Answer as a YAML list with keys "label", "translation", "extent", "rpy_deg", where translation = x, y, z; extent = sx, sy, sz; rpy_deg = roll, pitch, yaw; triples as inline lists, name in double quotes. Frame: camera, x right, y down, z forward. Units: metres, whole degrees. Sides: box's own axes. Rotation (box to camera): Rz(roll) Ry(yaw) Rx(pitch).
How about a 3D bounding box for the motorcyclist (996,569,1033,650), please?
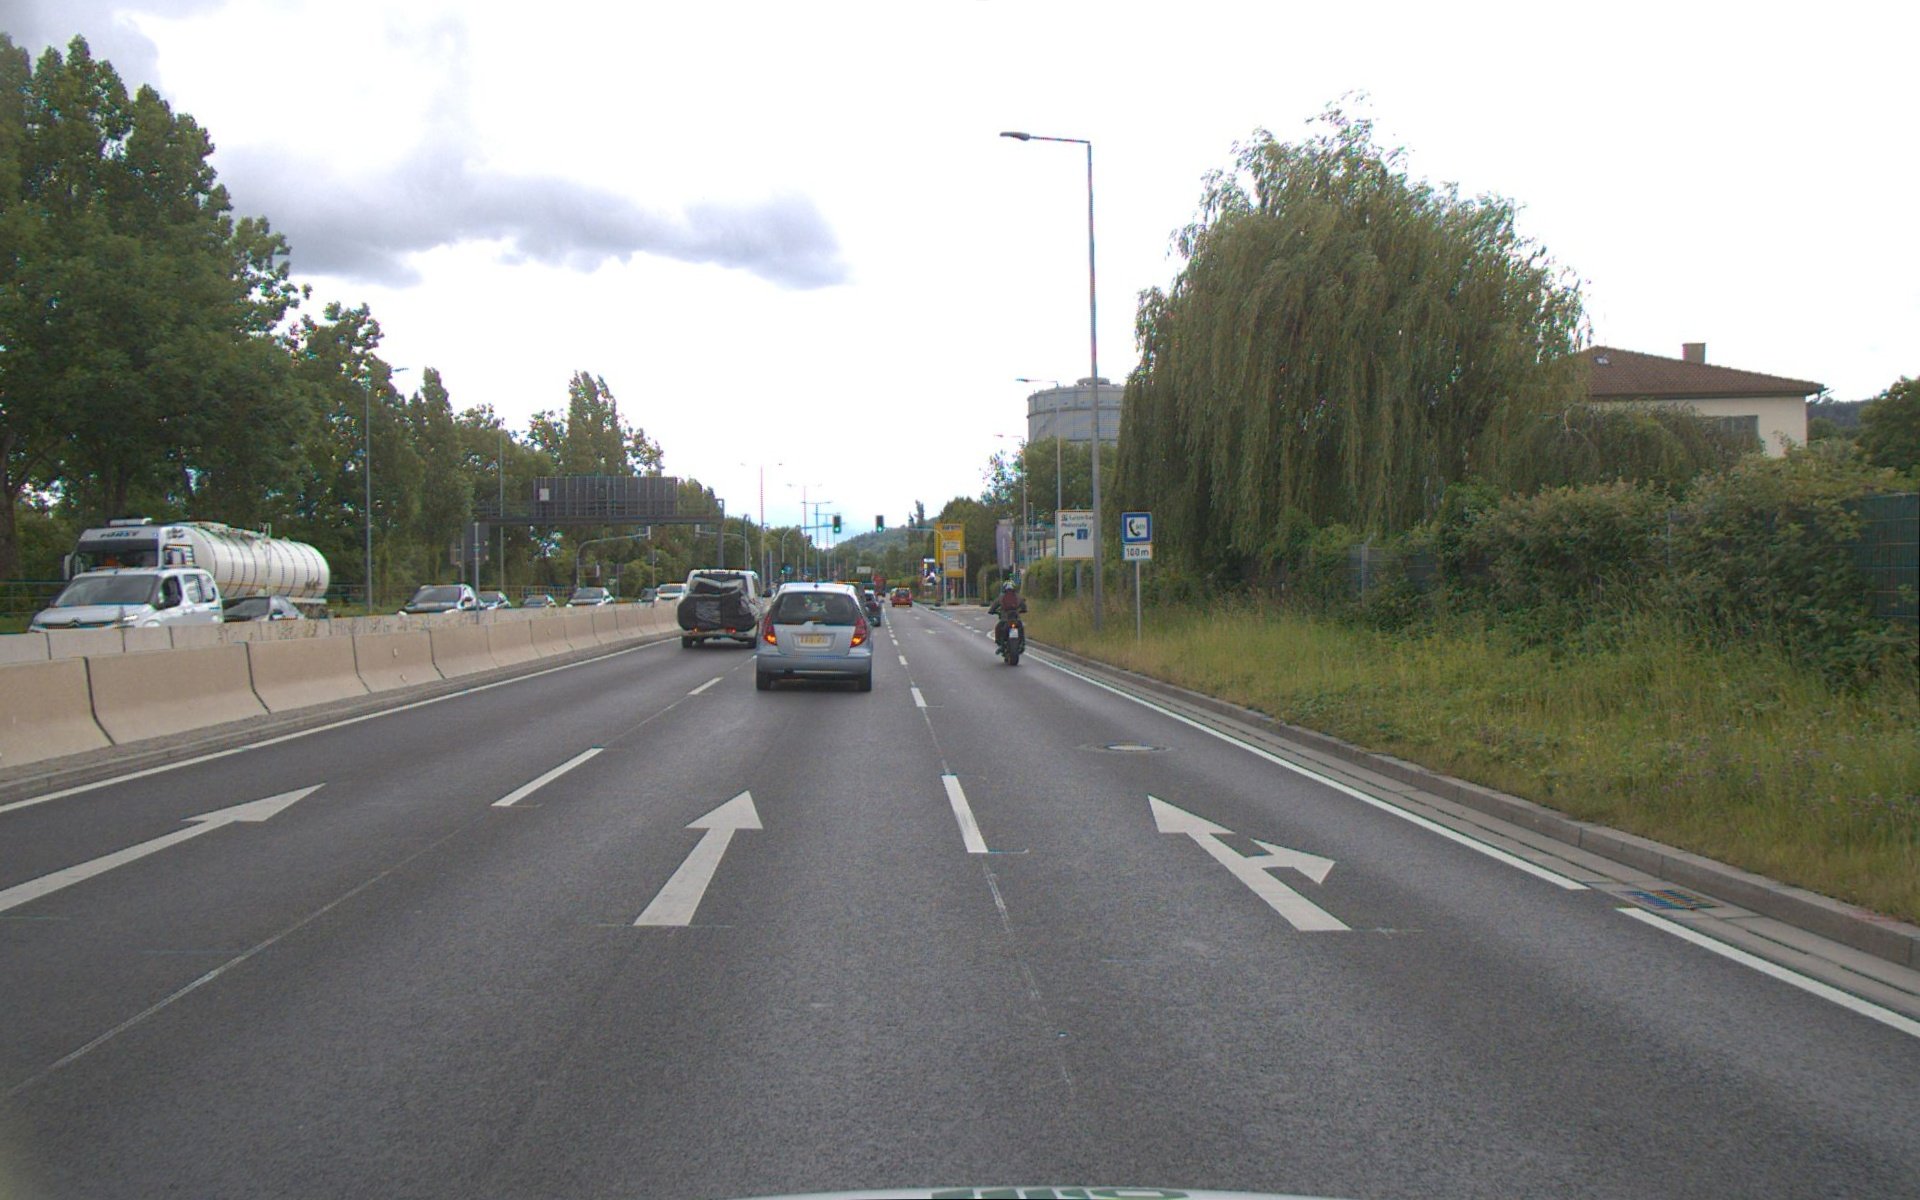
- label: "motorcyclist"
  translation: [1.123, 0.189, 34.096]
  extent: [0.671, 1.638, 0.845]
  rpy_deg: [1, 0, -1]

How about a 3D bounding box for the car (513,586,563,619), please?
- label: "car"
  translation: [-24.007, 0.147, 94.199]
  extent: [1.953, 1.769, 3.998]
  rpy_deg: [2, 1, -2]

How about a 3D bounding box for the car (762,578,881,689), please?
- label: "car"
  translation: [-2.104, 0.466, 25.887]
  extent: [1.676, 1.556, 3.998]
  rpy_deg: [2, 1, -3]

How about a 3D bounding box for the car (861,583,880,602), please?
- label: "car"
  translation: [-9.832, -0.813, 181.246]
  extent: [1.954, 2.049, 3.998]
  rpy_deg: [2, 1, -3]

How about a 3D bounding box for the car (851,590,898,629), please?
- label: "car"
  translation: [-3.492, 0.353, 67.695]
  extent: [1.803, 1.489, 3.998]
  rpy_deg: [2, 1, -3]

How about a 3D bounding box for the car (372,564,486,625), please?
- label: "car"
  translation: [-15.584, -0.175, 48.800]
  extent: [1.953, 1.646, 4.695]
  rpy_deg: [2, 1, -2]

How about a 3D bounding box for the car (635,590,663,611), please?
- label: "car"
  translation: [-27.522, 0.014, 146.505]
  extent: [1.840, 1.712, 3.925]
  rpy_deg: [2, 1, -3]

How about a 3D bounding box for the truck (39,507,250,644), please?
- label: "truck"
  translation: [-21.114, -0.629, 43.175]
  extent: [3.037, 3.275, 5.387]
  rpy_deg: [2, 1, -4]

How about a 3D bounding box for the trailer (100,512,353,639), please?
- label: "trailer"
  translation: [-21.565, -0.709, 49.645]
  extent: [3.039, 3.276, 11.659]
  rpy_deg: [2, 1, -4]

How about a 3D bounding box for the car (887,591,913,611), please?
- label: "car"
  translation: [-4.958, 0.061, 136.297]
  extent: [1.954, 1.579, 3.997]
  rpy_deg: [2, 1, -4]

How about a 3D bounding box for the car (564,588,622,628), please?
- label: "car"
  translation: [-17.194, 0.340, 77.691]
  extent: [1.953, 1.769, 3.998]
  rpy_deg: [2, 1, -2]

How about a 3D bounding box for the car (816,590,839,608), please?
- label: "car"
  translation: [-11.901, -0.089, 148.478]
  extent: [1.954, 1.579, 3.997]
  rpy_deg: [2, 1, -4]

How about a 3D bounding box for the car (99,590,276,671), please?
- label: "car"
  translation: [-17.460, 0.644, 37.648]
  extent: [1.953, 1.646, 4.695]
  rpy_deg: [2, 1, -2]

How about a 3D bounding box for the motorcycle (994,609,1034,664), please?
- label: "motorcycle"
  translation: [1.107, 0.731, 34.158]
  extent: [0.692, 1.058, 2.026]
  rpy_deg: [2, 1, -1]

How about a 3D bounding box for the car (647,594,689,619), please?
- label: "car"
  translation: [-19.604, 0.428, 111.338]
  extent: [1.953, 1.586, 4.885]
  rpy_deg: [2, 1, -1]

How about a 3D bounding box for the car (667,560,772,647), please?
- label: "car"
  translation: [-5.852, 0.060, 40.841]
  extent: [2.171, 1.959, 4.998]
  rpy_deg: [2, 1, -5]

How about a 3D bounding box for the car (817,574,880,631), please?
- label: "car"
  translation: [-3.530, 0.045, 52.993]
  extent: [1.869, 1.713, 3.998]
  rpy_deg: [2, 1, -3]

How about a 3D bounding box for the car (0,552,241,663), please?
- label: "car"
  translation: [-13.943, 0.090, 27.623]
  extent: [1.953, 1.646, 4.695]
  rpy_deg: [2, 1, -2]
